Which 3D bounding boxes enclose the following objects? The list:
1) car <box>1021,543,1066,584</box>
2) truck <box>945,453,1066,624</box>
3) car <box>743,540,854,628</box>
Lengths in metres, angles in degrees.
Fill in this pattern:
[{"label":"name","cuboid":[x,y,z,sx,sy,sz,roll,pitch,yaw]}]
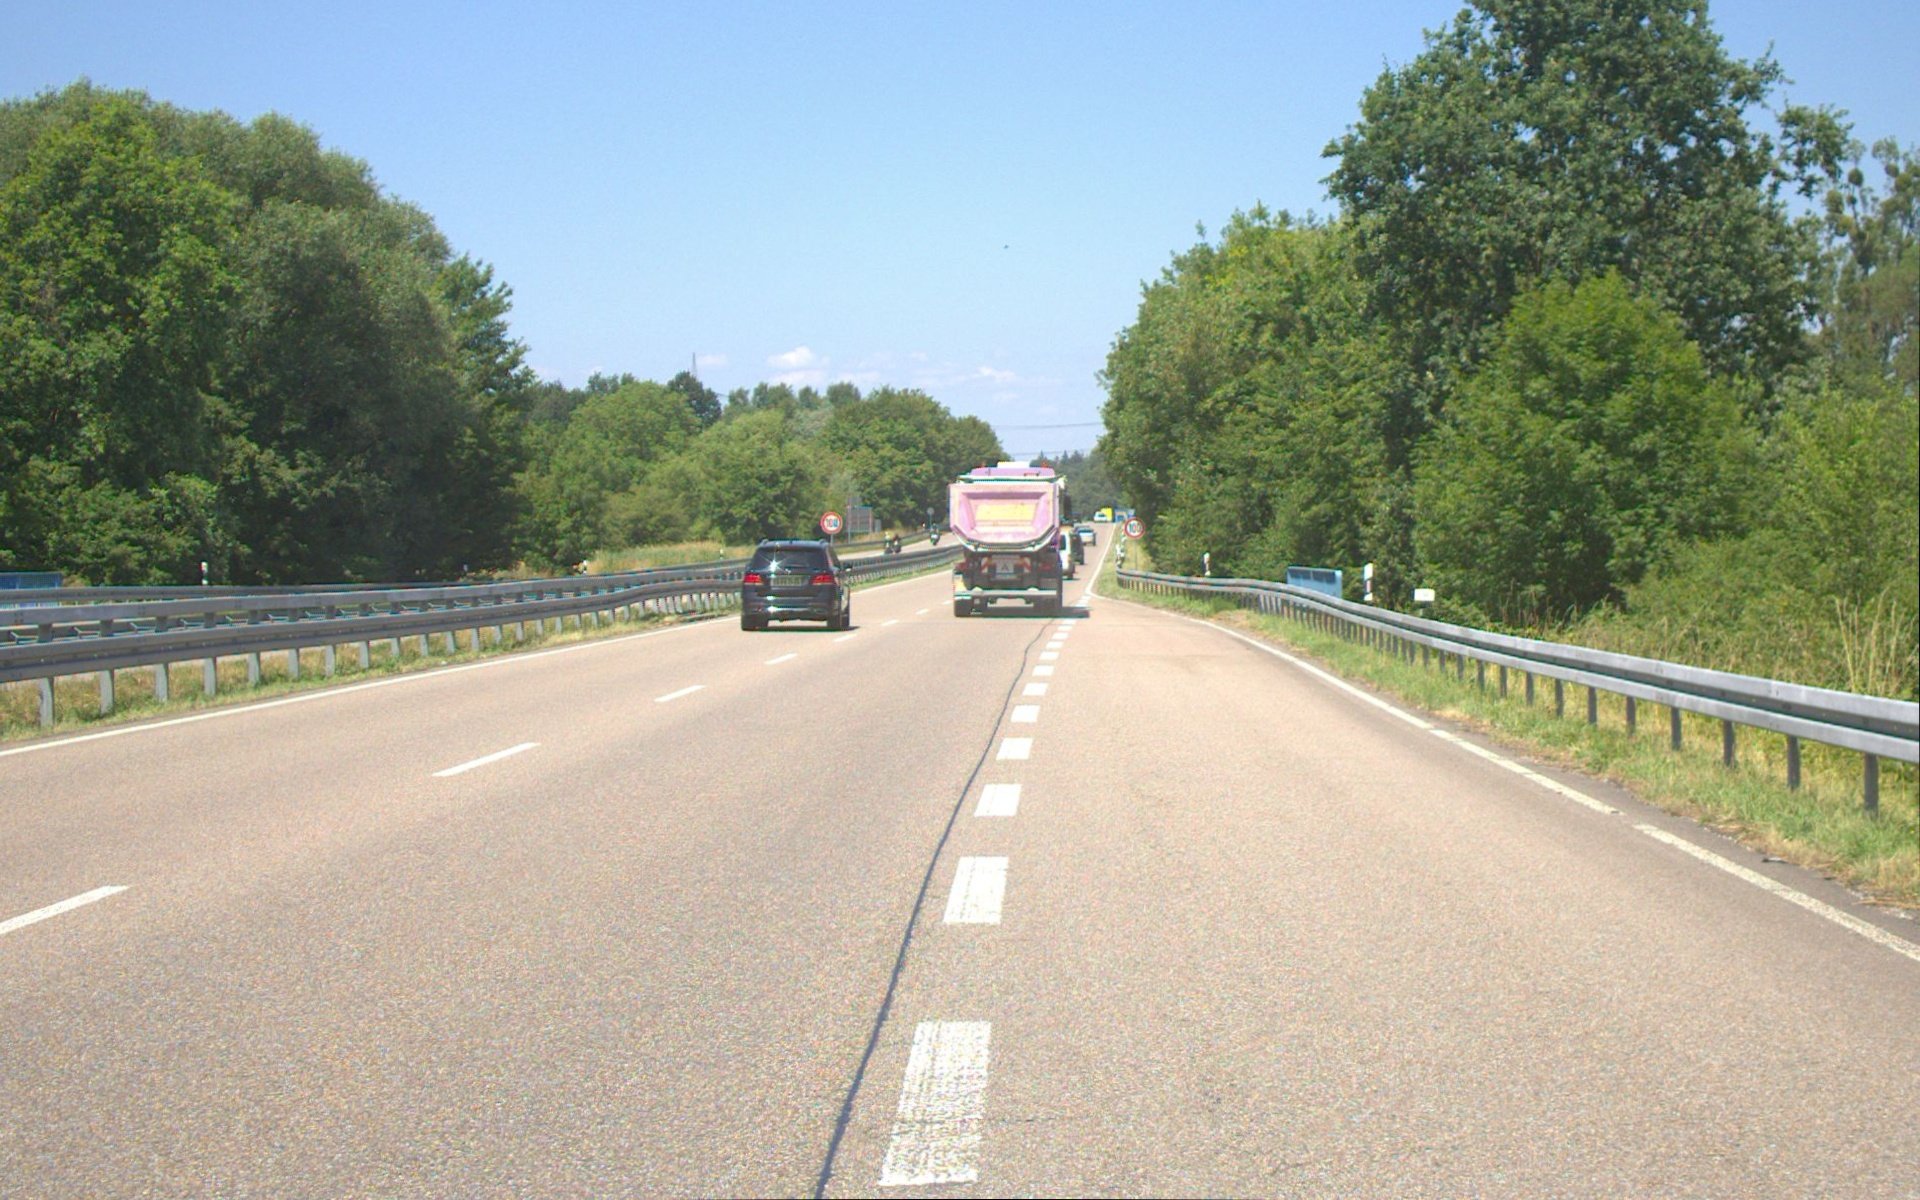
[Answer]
[{"label":"car","cuboid":[3.499,-1.525,143.150,1.857,1.665,4.000,0,0,2]},{"label":"truck","cuboid":[1.239,-1.591,84.855,2.720,3.916,12.370,0,2,2]},{"label":"car","cuboid":[-3.128,-0.307,67.182,1.857,1.665,4.000,0,0,2]}]
